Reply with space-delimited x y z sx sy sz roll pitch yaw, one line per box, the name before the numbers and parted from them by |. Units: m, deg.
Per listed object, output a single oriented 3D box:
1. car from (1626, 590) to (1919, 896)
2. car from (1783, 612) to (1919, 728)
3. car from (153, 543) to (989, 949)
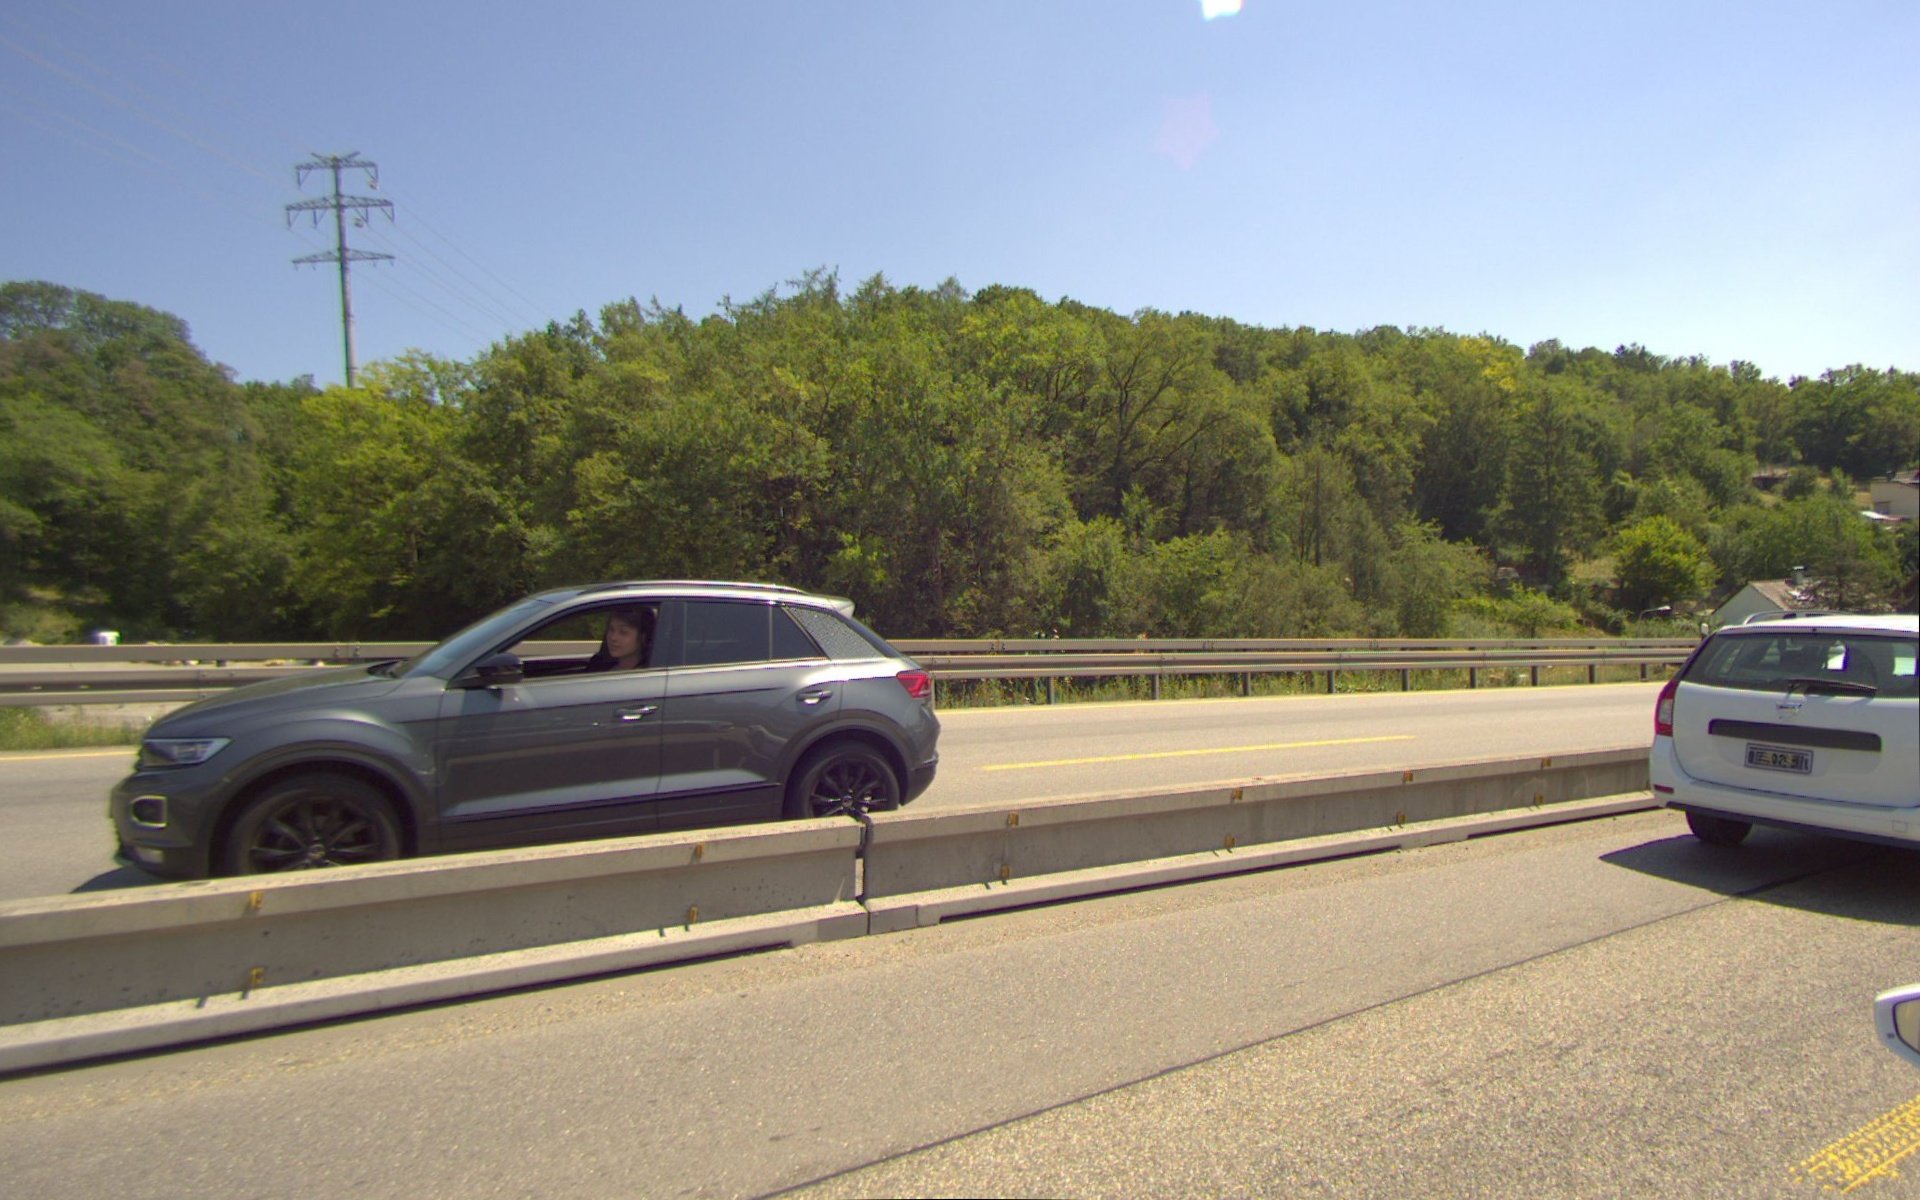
car | 6.302 0.774 6.471 4.215 1.503 1.644 2 -2 -30
car | 14.511 0.982 15.014 4.422 1.506 1.903 1 1 -29
car | -1.976 0.622 5.842 3.952 1.663 1.731 1 0 -29
